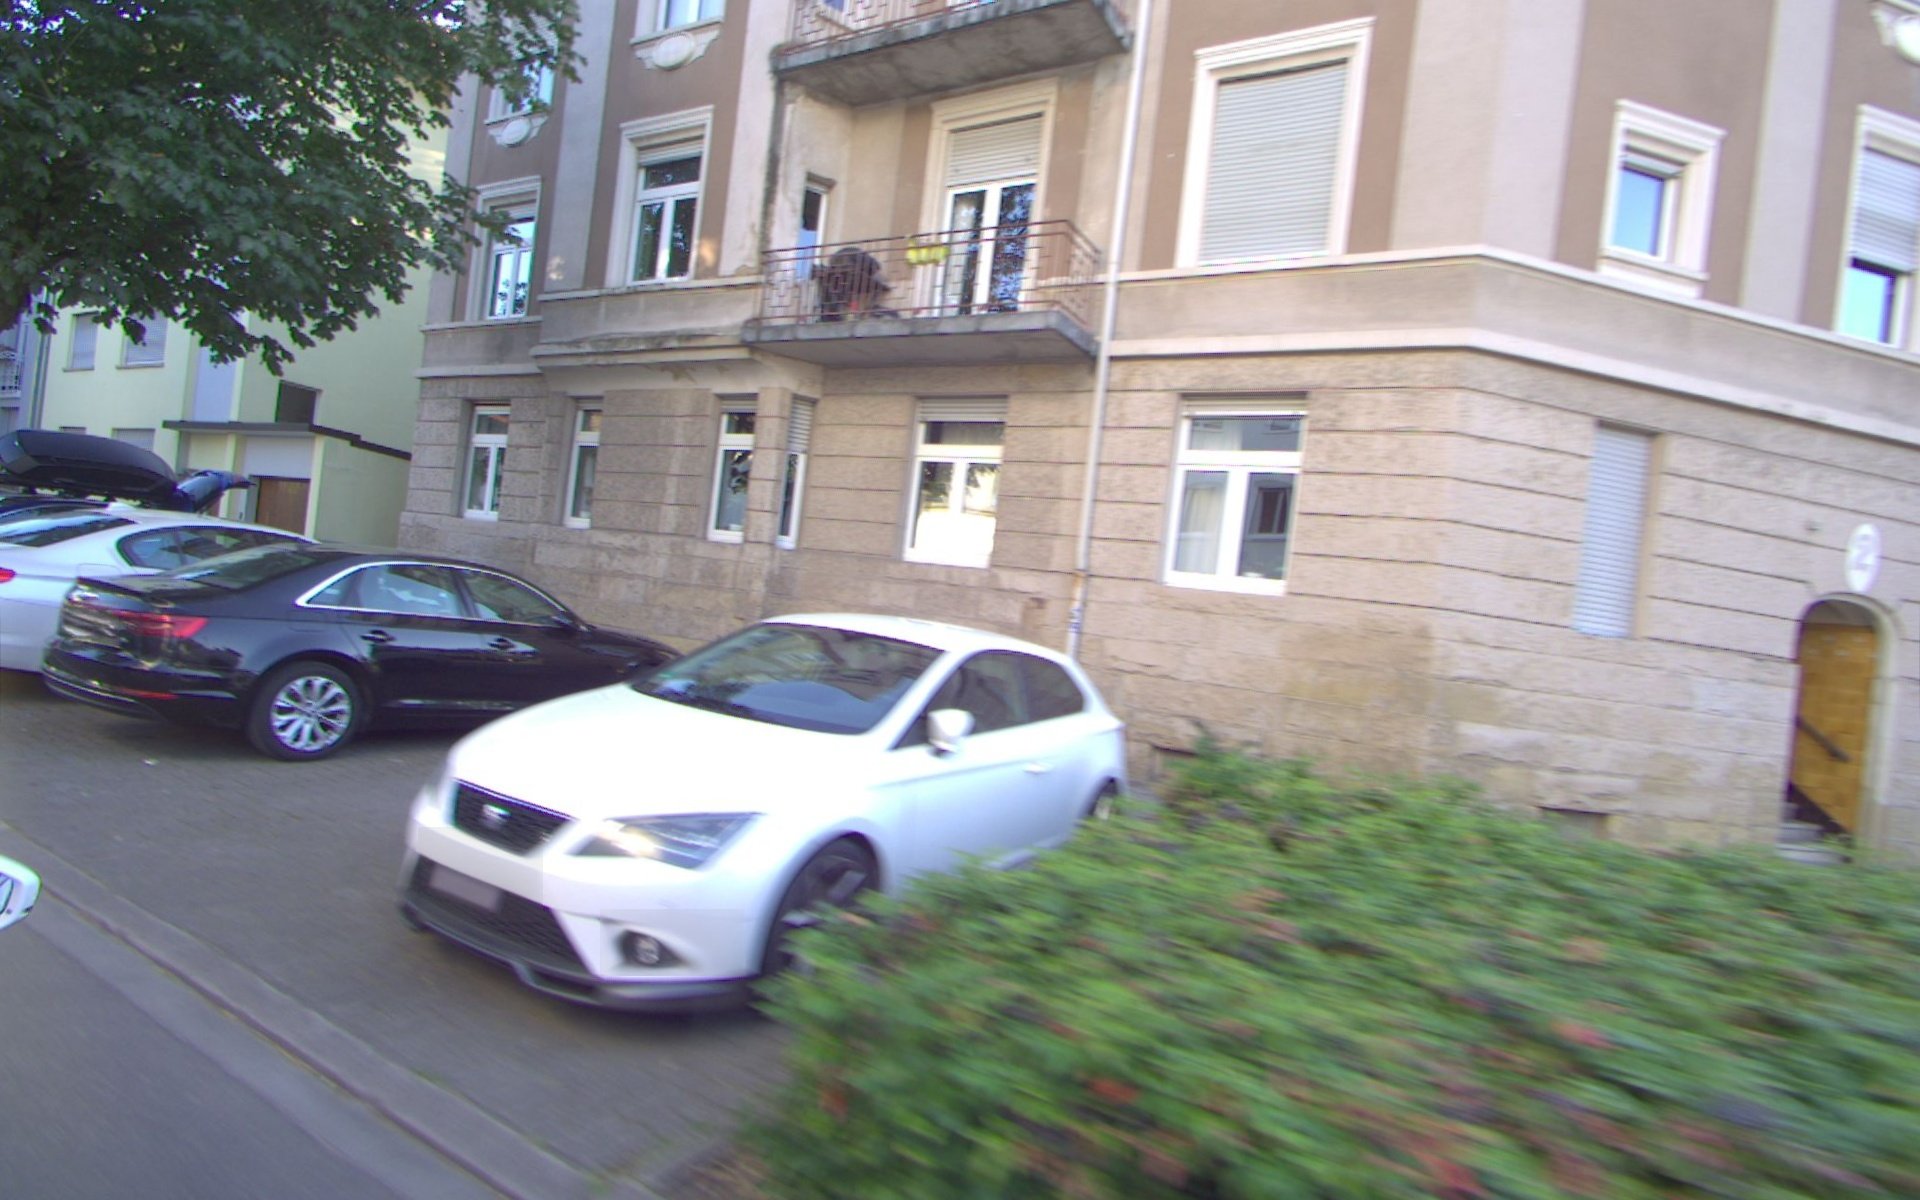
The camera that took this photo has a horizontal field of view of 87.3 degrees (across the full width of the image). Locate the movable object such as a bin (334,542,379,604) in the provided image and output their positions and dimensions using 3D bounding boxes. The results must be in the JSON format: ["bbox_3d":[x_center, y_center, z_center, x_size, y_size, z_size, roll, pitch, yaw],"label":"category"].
[{"bbox_3d":[-11.387,-0.505,18.983,0.523,1.099,0.456,6,-1,32],"label":"movable object such as a bin"}]

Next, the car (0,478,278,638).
[{"bbox_3d":[-11.043,-0.562,11.861,1.842,1.661,4.533,7,0,30],"label":"car"}]

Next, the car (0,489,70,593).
[{"bbox_3d":[-16.440,-1.124,15.092,1.842,1.577,4.196,7,0,30],"label":"car"}]

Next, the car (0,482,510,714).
[{"bbox_3d":[-6.606,-0.026,8.924,1.919,1.545,4.485,8,1,26],"label":"car"}]

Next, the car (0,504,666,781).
[{"bbox_3d":[-4.485,0.310,7.810,1.645,1.466,4.147,7,1,30],"label":"car"}]

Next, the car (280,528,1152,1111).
[{"bbox_3d":[-0.669,0.717,5.032,1.830,1.524,4.054,7,0,30],"label":"car"}]
